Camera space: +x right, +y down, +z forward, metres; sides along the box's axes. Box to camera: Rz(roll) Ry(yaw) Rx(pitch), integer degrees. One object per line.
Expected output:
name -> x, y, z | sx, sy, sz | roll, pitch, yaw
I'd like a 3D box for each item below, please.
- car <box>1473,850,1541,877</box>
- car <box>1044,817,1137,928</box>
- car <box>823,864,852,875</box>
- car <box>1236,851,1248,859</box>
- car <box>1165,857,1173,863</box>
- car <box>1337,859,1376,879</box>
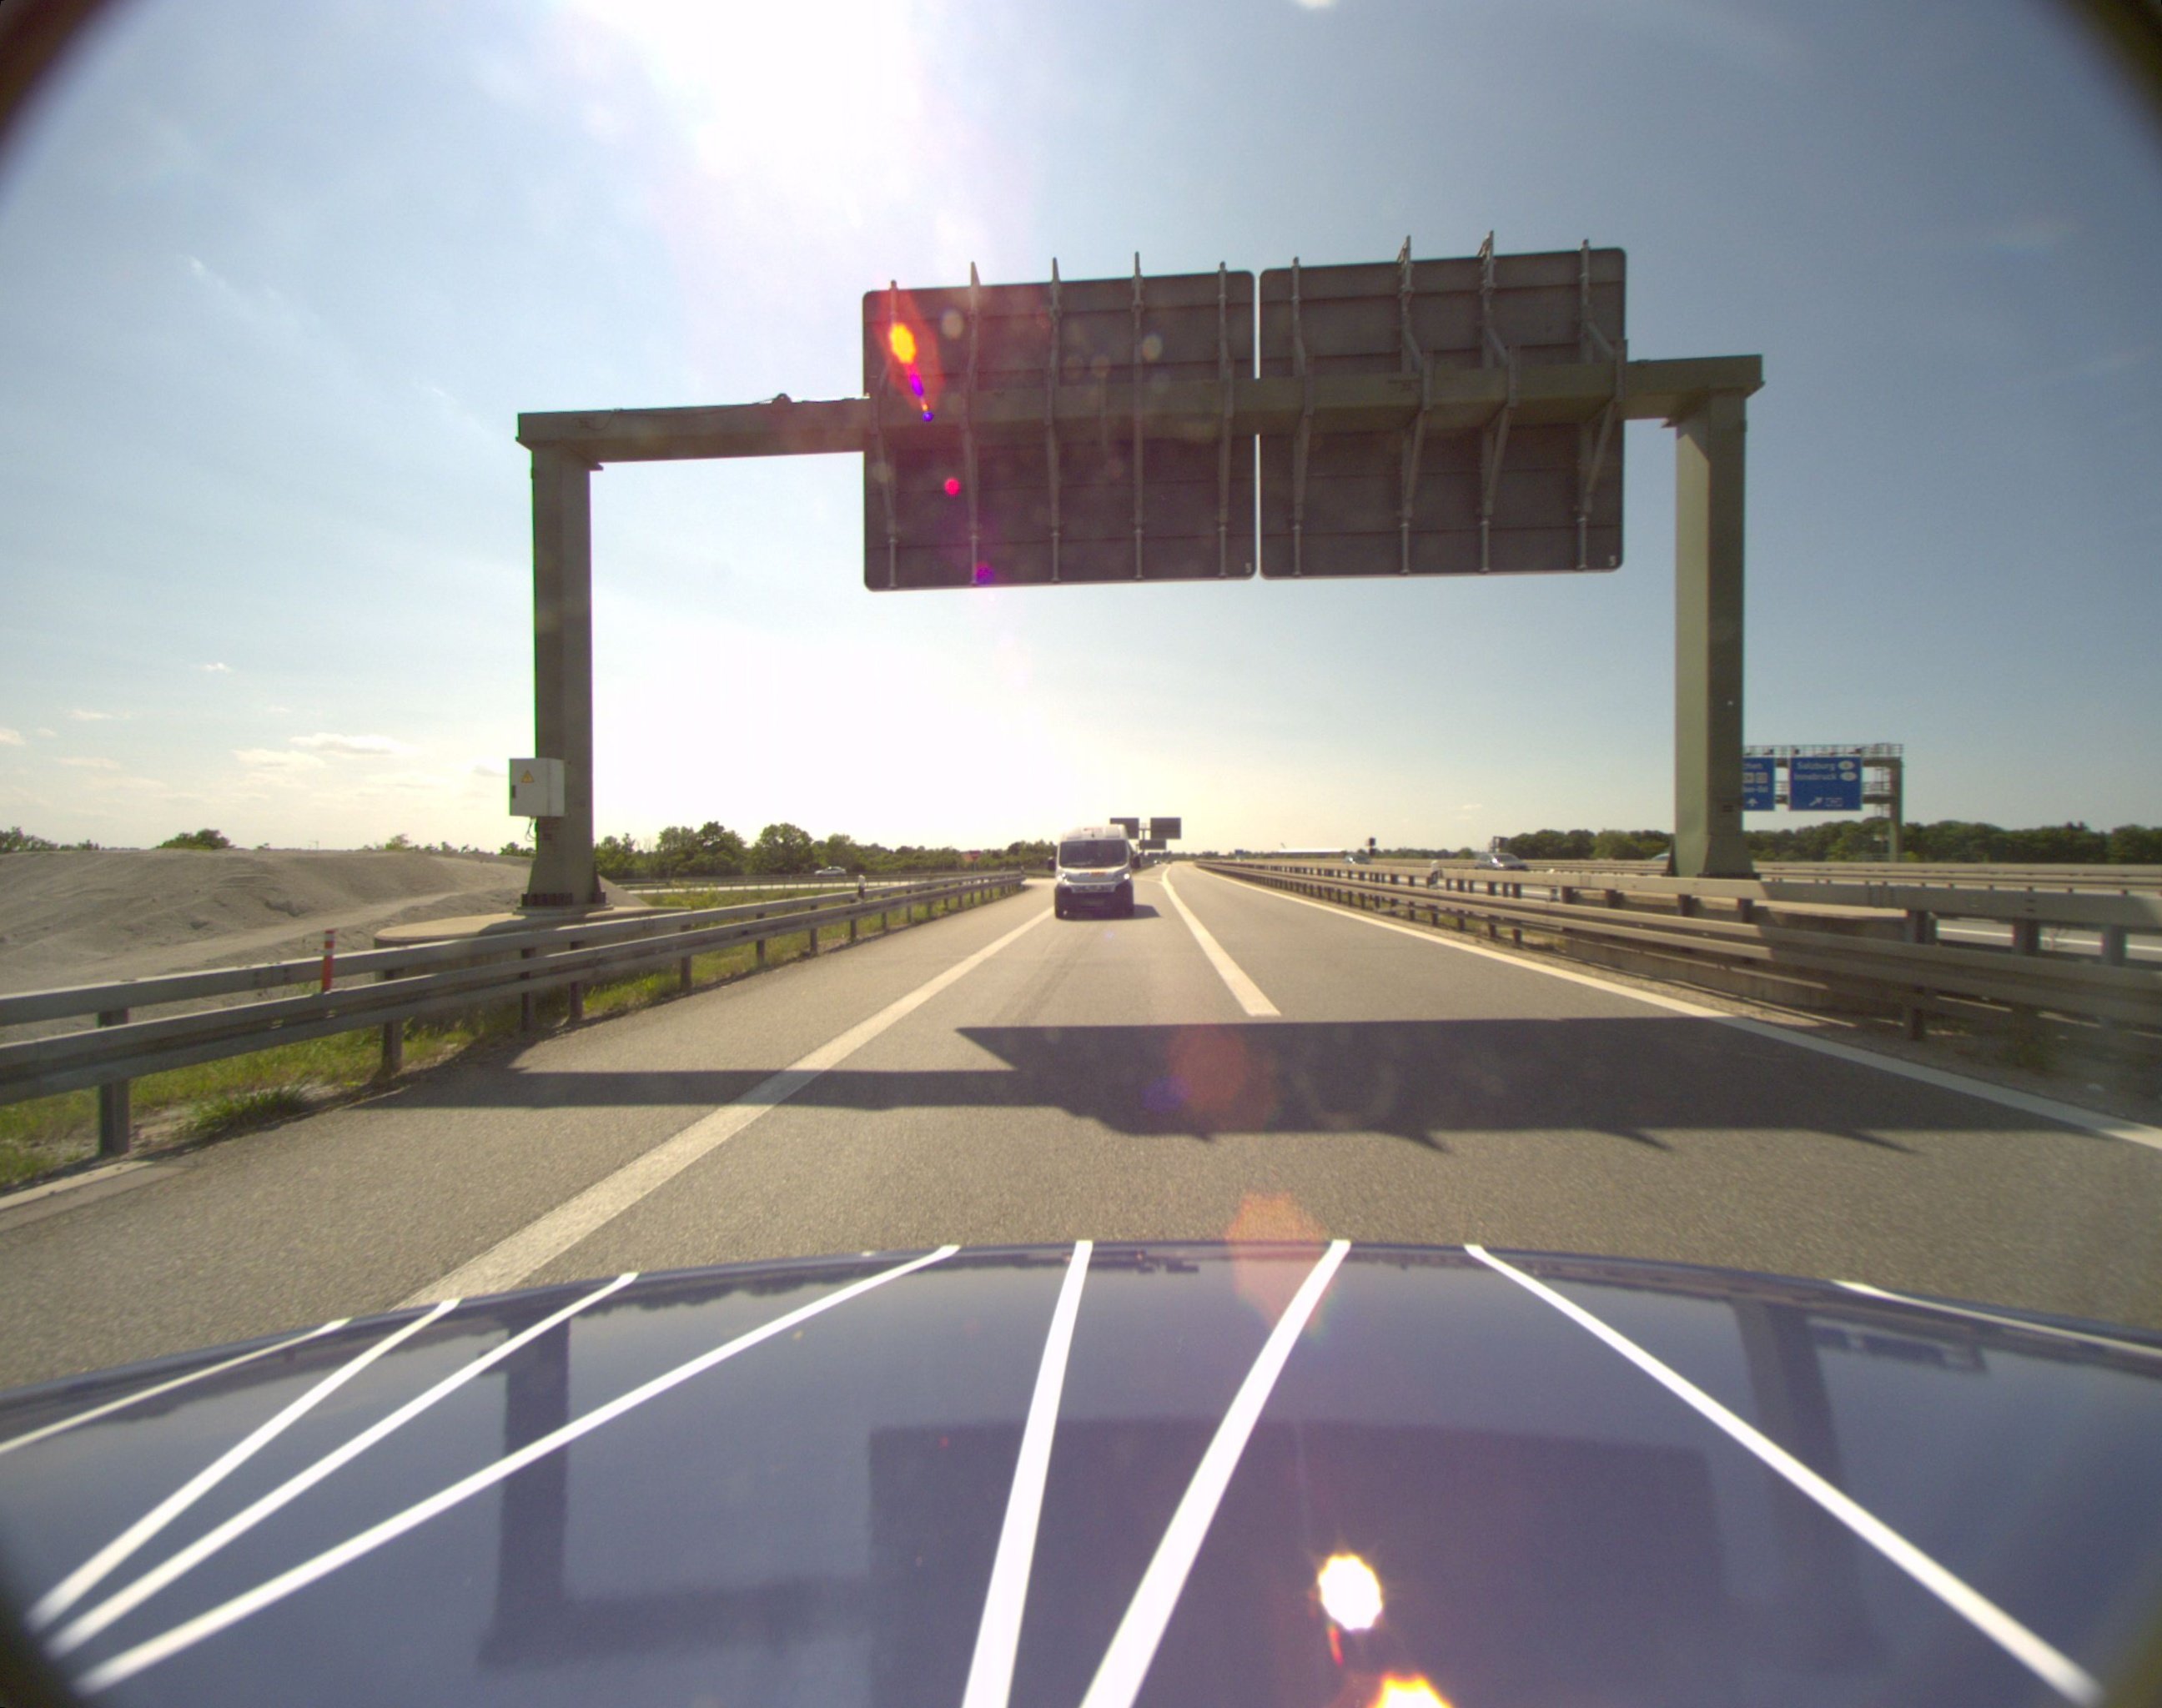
car -> 24.318, 0.495, 43.542 | 1.766, 1.414, 4.217 | -1, 1, 4
car -> 0.444, 0.428, 20.422 | 2.086, 2.509, 6.239 | -1, 0, 4
car -> -39.096, 2.537, 121.764 | 4.302, 1.499, 1.997 | -3, 0, -19
car -> 32.638, 0.161, 154.076 | 1.842, 1.509, 4.577 | -1, 1, 4
car -> 25.123, 1.634, 217.346 | 1.998, 1.744, 4.001 | -1, 1, 4
car -> 21.837, 1.197, 60.319 | 1.834, 1.424, 4.218 | -1, 1, 4
